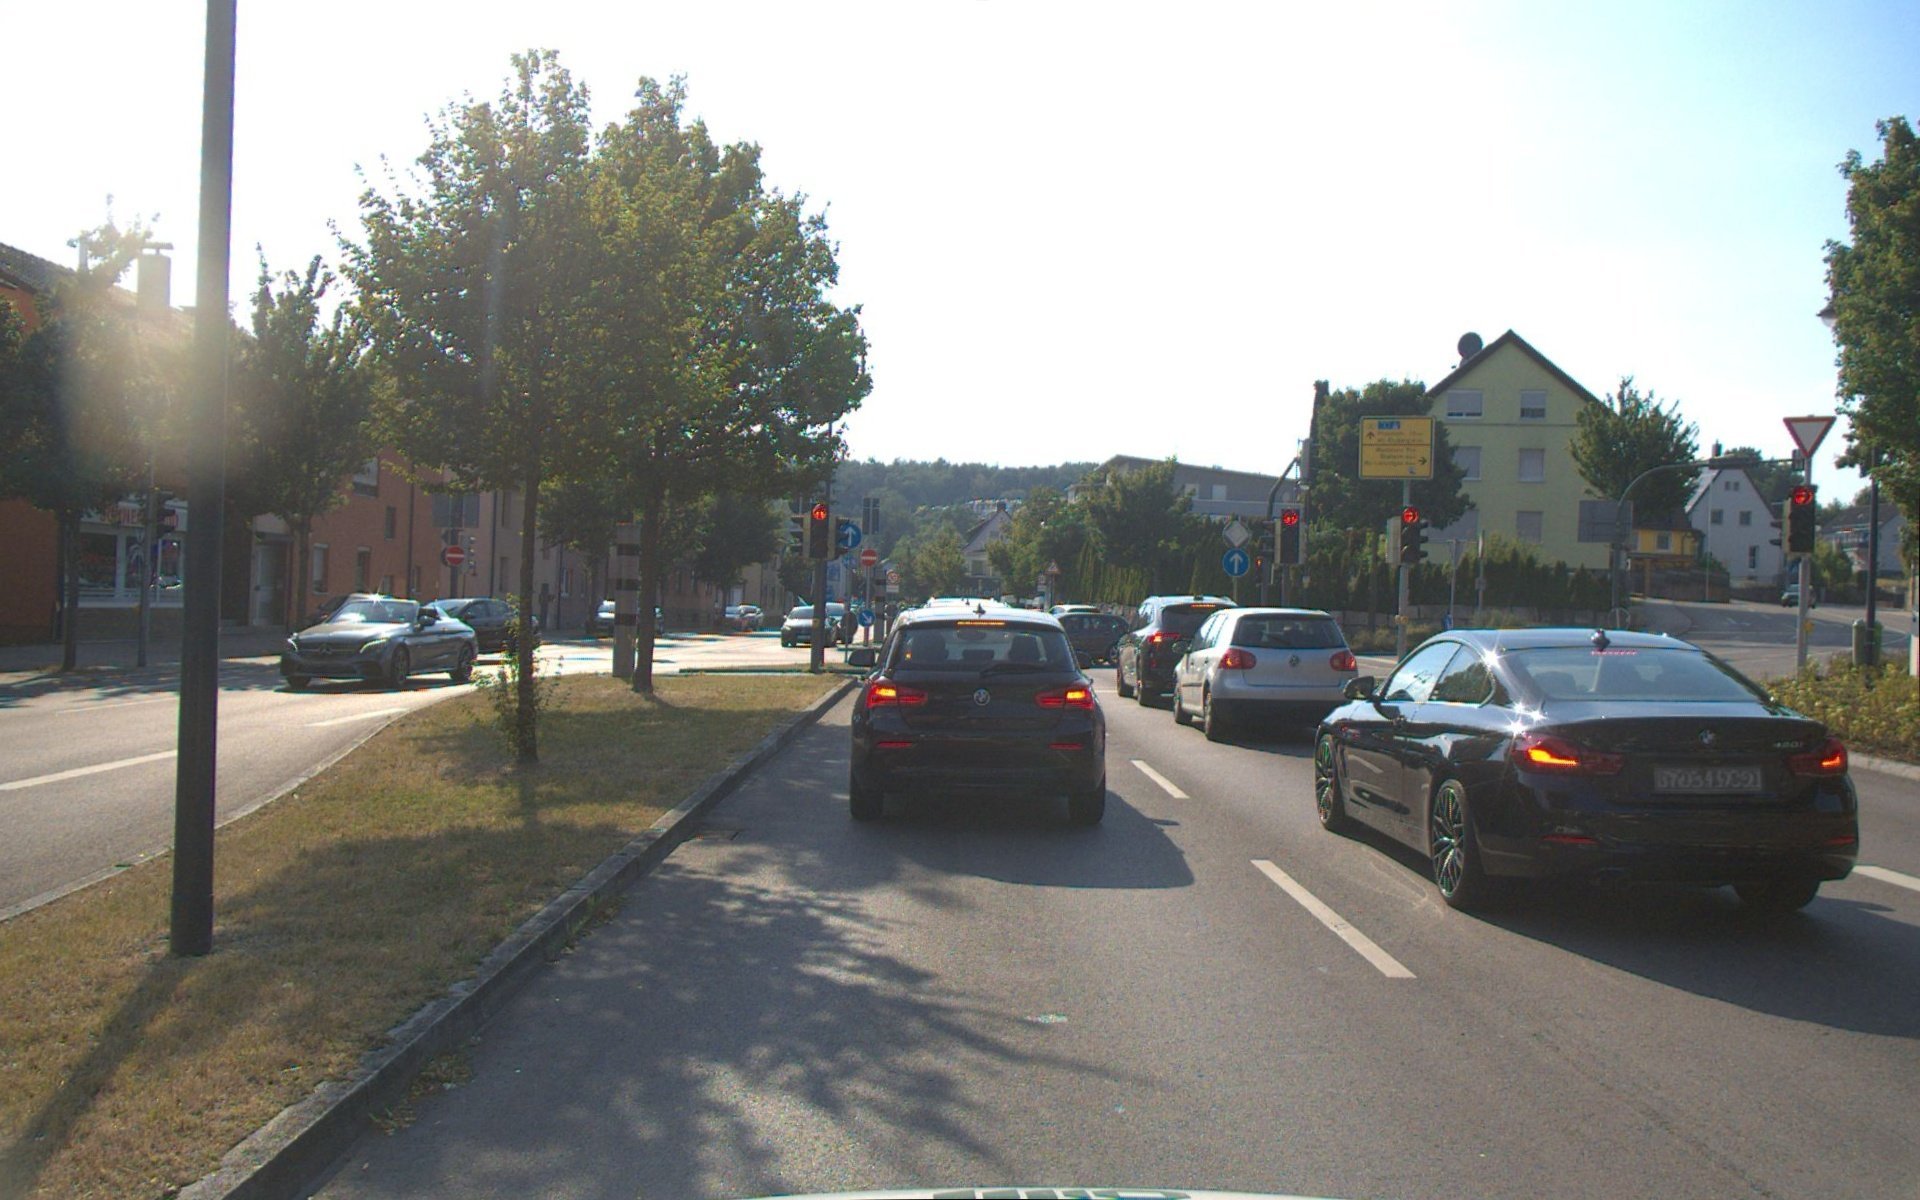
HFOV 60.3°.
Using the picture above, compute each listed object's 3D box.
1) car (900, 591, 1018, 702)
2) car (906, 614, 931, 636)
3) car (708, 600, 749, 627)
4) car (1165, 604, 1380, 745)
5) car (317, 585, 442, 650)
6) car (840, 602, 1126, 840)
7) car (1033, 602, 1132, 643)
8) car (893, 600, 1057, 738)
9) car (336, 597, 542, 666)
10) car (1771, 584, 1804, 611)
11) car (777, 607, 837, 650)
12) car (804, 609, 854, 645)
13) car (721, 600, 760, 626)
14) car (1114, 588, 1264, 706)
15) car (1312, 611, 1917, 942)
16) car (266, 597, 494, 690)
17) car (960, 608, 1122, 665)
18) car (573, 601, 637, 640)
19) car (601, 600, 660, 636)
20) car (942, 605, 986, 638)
[{"bbox_3d":[0.005,0.711,27.472,1.779,1.670,4.242,1,0,0],"label":"car"},{"bbox_3d":[-3.248,1.949,130.345,1.885,1.624,3.999,1,0,-1],"label":"car"},{"bbox_3d":[-14.380,0.845,102.886,1.884,1.624,4.000,1,0,1],"label":"car"},{"bbox_3d":[3.609,0.797,19.860,1.779,1.471,4.347,1,0,0],"label":"car"},{"bbox_3d":[-15.712,0.456,44.965,1.805,1.579,4.001,3,0,2],"label":"car"},{"bbox_3d":[0.162,0.754,12.433,1.754,1.439,4.347,1,0,0],"label":"car"},{"bbox_3d":[4.787,0.860,65.541,1.839,1.511,4.620,1,0,-26],"label":"car"},{"bbox_3d":[0.185,0.759,20.281,1.779,1.476,4.242,1,0,0],"label":"car"},{"bbox_3d":[-11.734,0.686,37.592,1.807,1.446,4.640,1,0,25],"label":"car"},{"bbox_3d":[55.874,-0.182,111.638,1.753,1.533,4.063,2,4,30],"label":"car"},{"bbox_3d":[-5.562,1.019,60.379,1.730,1.484,4.000,1,0,1],"label":"car"},{"bbox_3d":[-5.370,1.081,67.933,1.658,1.377,4.000,1,0,1],"label":"car"},{"bbox_3d":[-14.358,0.847,108.392,1.884,1.624,4.000,1,0,1],"label":"car"},{"bbox_3d":[3.524,0.683,26.156,1.779,1.695,4.347,1,0,0],"label":"car"},{"bbox_3d":[3.364,0.795,9.501,1.779,1.413,4.347,1,0,0],"label":"car"},{"bbox_3d":[-9.436,0.658,27.336,1.742,1.373,4.482,1,0,6],"label":"car"},{"bbox_3d":[2.160,0.976,44.442,4.099,1.411,1.647,1,0,-9],"label":"car"},{"bbox_3d":[-15.552,0.886,72.674,1.884,1.624,4.000,1,0,1],"label":"car"},{"bbox_3d":[-15.500,0.828,78.041,1.884,1.624,4.000,1,0,1],"label":"car"},{"bbox_3d":[0.185,1.113,87.945,1.854,1.732,4.517,0,0,-6],"label":"car"}]
